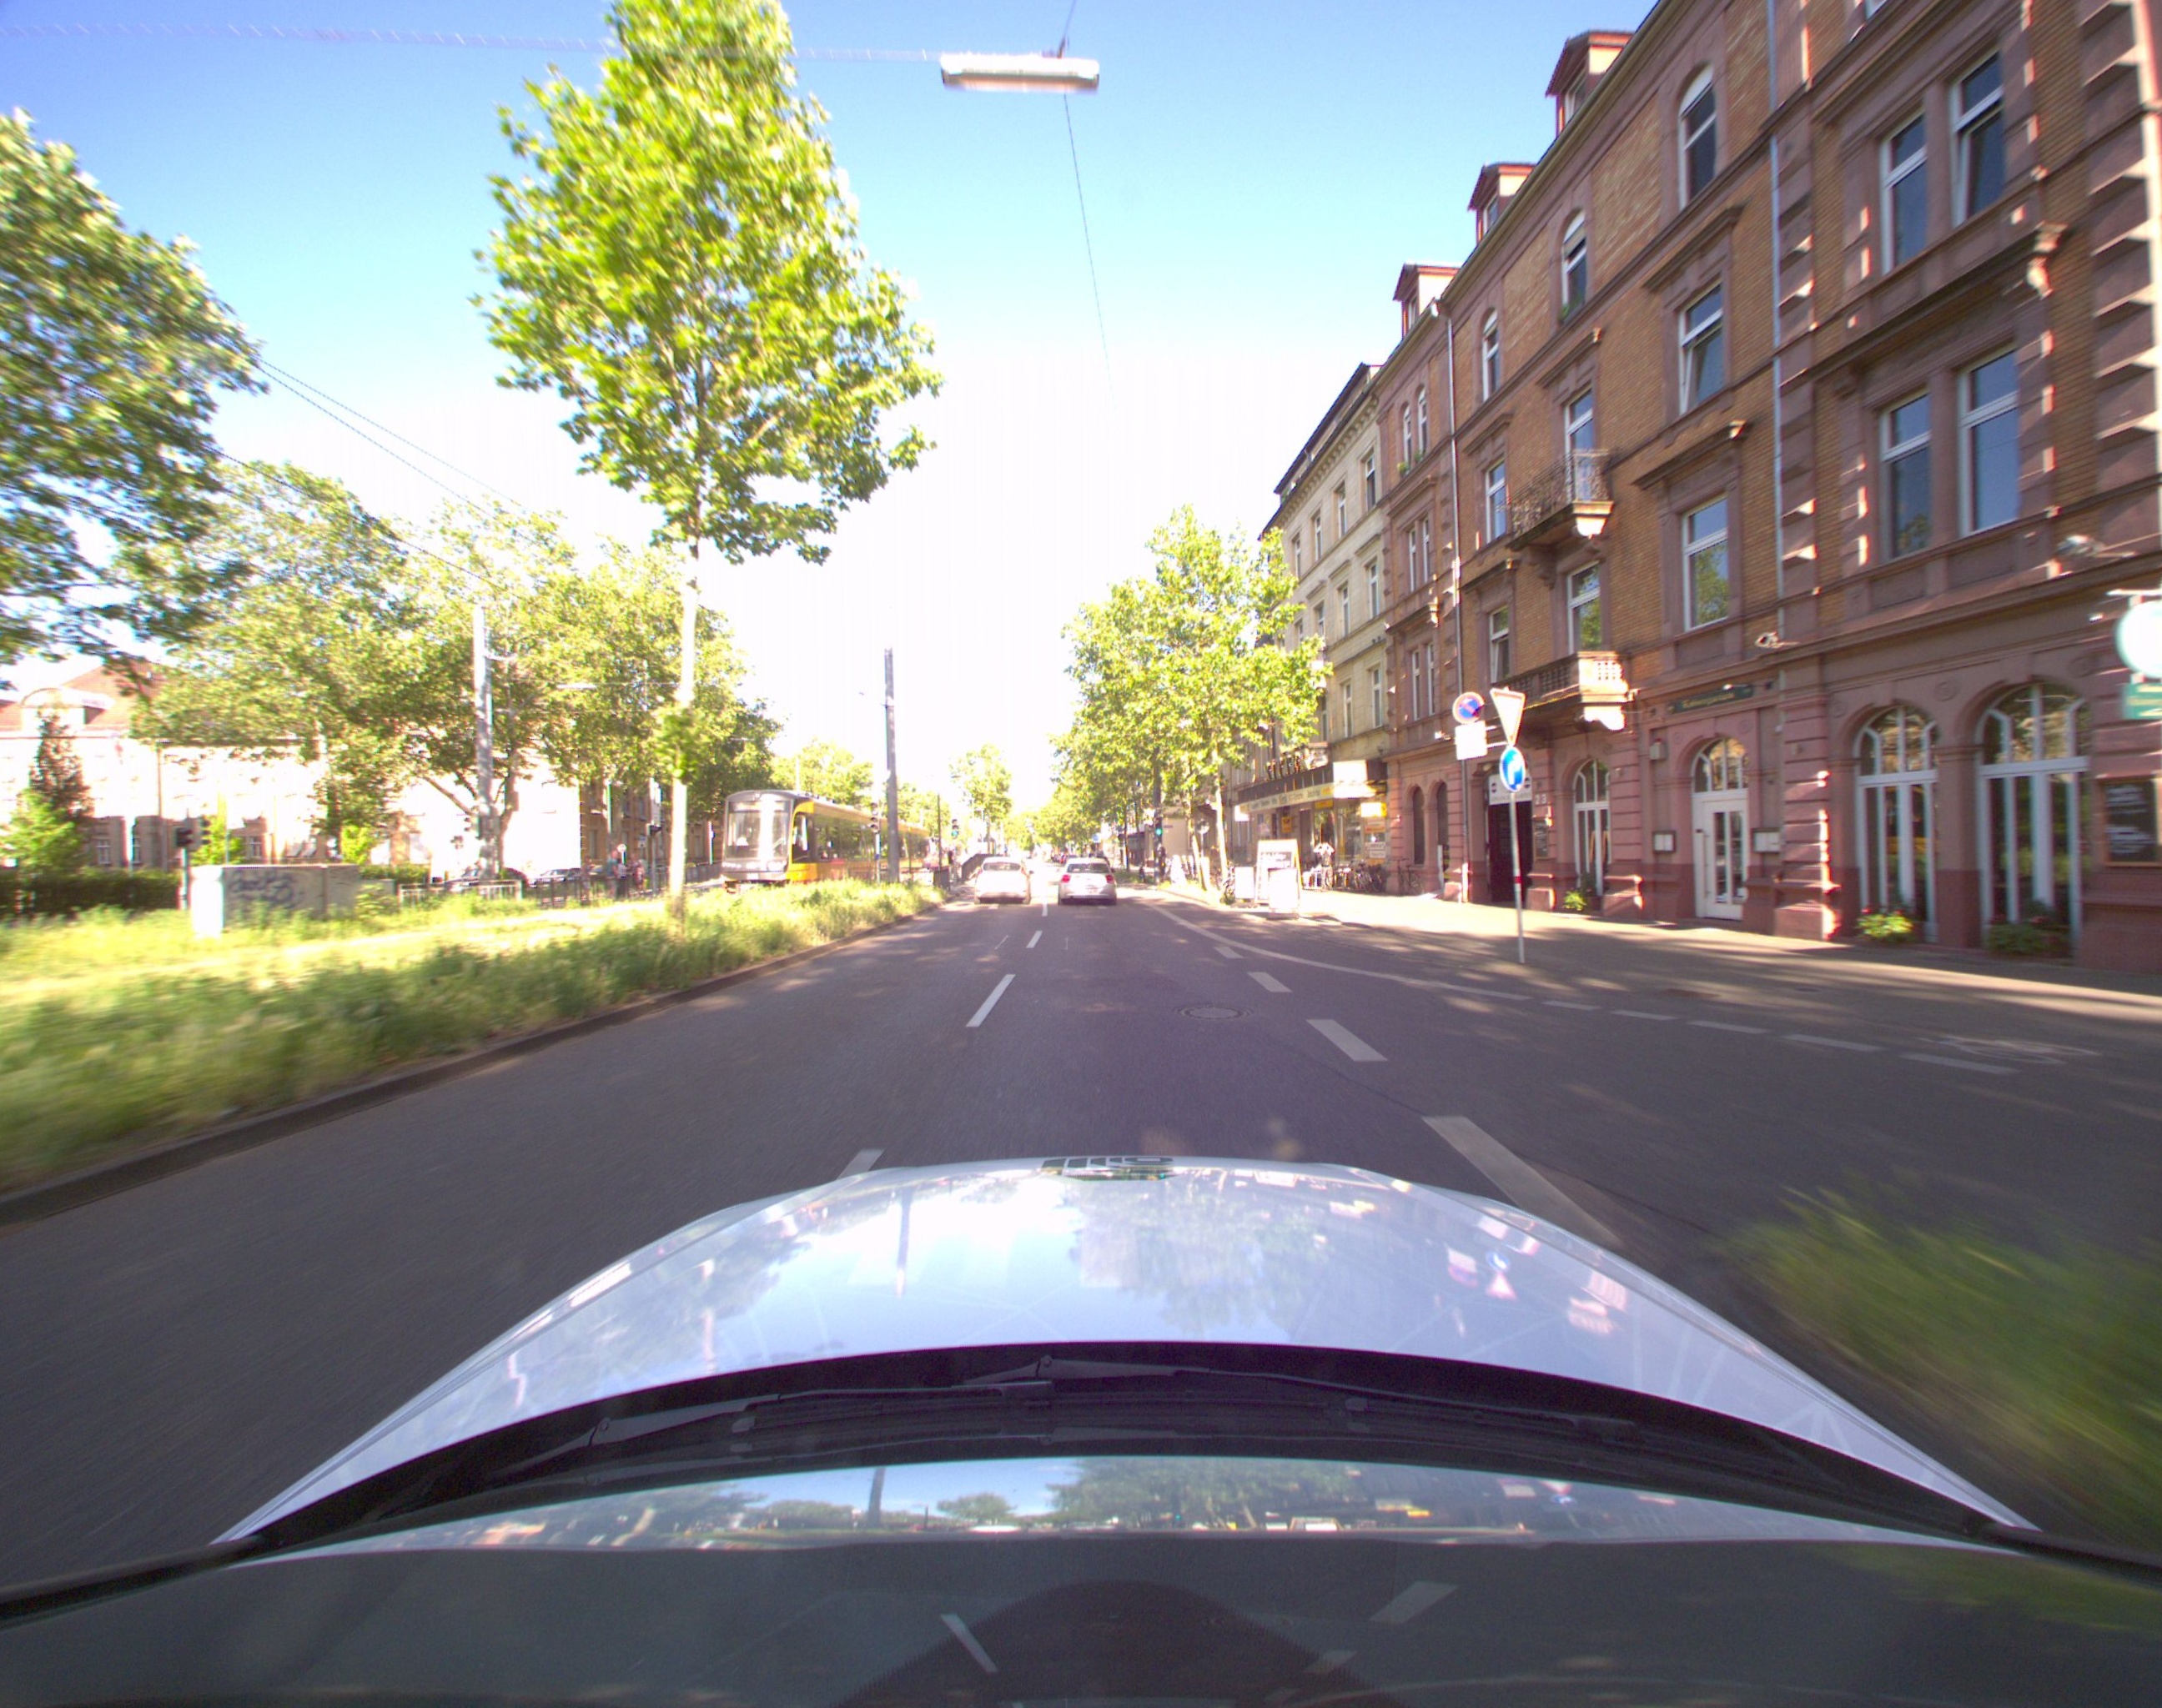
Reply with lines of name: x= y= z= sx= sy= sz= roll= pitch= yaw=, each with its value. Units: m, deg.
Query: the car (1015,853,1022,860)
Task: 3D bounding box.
car: x=-19.496 y=0.797 z=255.254 sx=1.989 sy=2.013 sz=3.995 roll=1 pitch=0 yaw=-4

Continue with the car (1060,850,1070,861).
car: x=-2.866 y=0.337 z=146.947 sx=1.721 sy=1.881 sz=3.994 roll=1 pitch=-1 yaw=-4

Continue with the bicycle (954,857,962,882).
bicycle: x=-6.205 y=0.768 z=41.147 sx=0.328 sy=1.214 sz=1.822 roll=-1 pitch=0 yaw=-10

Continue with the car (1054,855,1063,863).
car: x=-4.542 y=0.921 z=163.084 sx=1.697 sy=1.534 sz=3.711 roll=1 pitch=0 yaw=-4

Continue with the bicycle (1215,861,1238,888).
bicycle: x=5.557 y=0.782 z=31.203 sx=0.442 sy=0.993 sz=1.686 roll=1 pitch=0 yaw=-5

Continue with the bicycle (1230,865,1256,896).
bicycle: x=5.645 y=0.905 z=28.422 sx=0.442 sy=0.993 sz=1.686 roll=1 pitch=0 yaw=-5

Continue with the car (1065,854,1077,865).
car: x=-1.492 y=0.825 z=121.079 sx=1.666 sy=1.551 sz=3.995 roll=1 pitch=0 yaw=-4

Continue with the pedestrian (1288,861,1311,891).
pedestrian: x=8.615 y=0.863 z=32.081 sx=0.776 sy=1.161 sz=0.465 roll=1 pitch=0 yaw=-29

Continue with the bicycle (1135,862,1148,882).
bicycle: x=3.144 y=0.932 z=42.181 sx=0.427 sy=0.970 sz=1.748 roll=1 pitch=0 yaw=-4

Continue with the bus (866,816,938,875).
bus: x=-11.581 y=-0.484 z=53.885 sx=2.863 sy=3.444 sz=11.595 roll=-1 pitch=0 yaw=-4

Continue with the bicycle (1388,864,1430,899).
bicycle: x=9.733 y=0.798 z=24.226 sx=0.442 sy=0.993 sz=1.686 roll=1 pitch=0 yaw=-5

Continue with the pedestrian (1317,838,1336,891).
pedestrian: x=8.598 y=0.358 z=28.510 sx=0.463 sy=1.810 sz=0.779 roll=1 pitch=0 yaw=27

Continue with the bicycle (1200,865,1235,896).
bicycle: x=4.633 y=0.899 z=27.829 sx=0.444 sy=0.993 sz=1.678 roll=1 pitch=0 yaw=-18

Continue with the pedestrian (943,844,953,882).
pedestrian: x=-6.662 y=0.435 z=40.910 sx=0.451 sy=1.903 sz=0.582 roll=-1 pitch=0 yaw=-11

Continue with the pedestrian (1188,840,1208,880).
pedestrian: x=5.919 y=0.311 z=41.155 sx=0.879 sy=2.013 sz=0.856 roll=1 pitch=0 yaw=-1

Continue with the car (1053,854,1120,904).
car: x=0.085 y=0.728 z=25.604 sx=1.759 sy=1.432 sz=3.993 roll=1 pitch=0 yaw=-5

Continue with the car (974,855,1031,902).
car: x=-2.432 y=0.734 z=25.915 sx=1.643 sy=1.363 sz=3.755 roll=1 pitch=0 yaw=-4

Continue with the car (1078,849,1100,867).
car: x=0.774 y=0.356 z=80.426 sx=1.795 sy=1.700 sz=4.730 roll=-2 pitch=0 yaw=-4

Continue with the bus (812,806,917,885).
bus: x=-10.760 y=-0.386 z=41.989 sx=2.863 sy=3.444 sz=12.198 roll=-1 pitch=0 yaw=-4

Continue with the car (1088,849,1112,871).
car: x=1.670 y=0.530 z=74.421 sx=1.751 sy=1.965 sz=4.730 roll=-1 pitch=0 yaw=-4

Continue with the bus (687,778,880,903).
bus: x=-9.943 y=-0.377 z=29.407 sx=2.863 sy=3.444 sz=13.198 roll=-1 pitch=0 yaw=-4

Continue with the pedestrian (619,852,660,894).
pedestrian: x=-17.562 y=0.755 z=32.413 sx=1.177 sy=1.643 sz=0.889 roll=-1 pitch=-1 yaw=-12

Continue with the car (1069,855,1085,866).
car: x=-0.637 y=0.886 z=115.807 sx=1.989 sy=1.509 sz=4.591 roll=1 pitch=-1 yaw=-4

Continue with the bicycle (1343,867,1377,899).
bicycle: x=9.257 y=0.940 z=27.082 sx=0.442 sy=0.993 sz=1.686 roll=1 pitch=0 yaw=-5

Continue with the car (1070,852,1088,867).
car: x=-0.203 y=0.583 z=89.805 sx=1.689 sy=1.658 sz=4.033 roll=-1 pitch=1 yaw=-4

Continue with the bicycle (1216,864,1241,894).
bicycle: x=5.128 y=0.864 z=28.346 sx=0.442 sy=0.993 sz=1.686 roll=1 pitch=0 yaw=-5

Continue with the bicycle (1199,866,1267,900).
bicycle: x=4.624 y=0.883 z=24.780 sx=2.011 sy=0.993 sz=0.443 roll=1 pitch=0 yaw=-7

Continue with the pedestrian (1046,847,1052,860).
pedestrian: x=-4.788 y=-0.058 z=122.878 sx=0.835 sy=2.013 sz=0.649 roll=1 pitch=0 yaw=3

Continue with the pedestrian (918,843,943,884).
pedestrian: x=-7.269 y=0.451 z=39.403 sx=1.071 sy=1.916 sz=1.124 roll=-1 pitch=0 yaw=-6

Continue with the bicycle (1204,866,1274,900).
bicycle: x=4.709 y=0.856 z=24.284 sx=2.001 sy=0.993 sz=0.443 roll=1 pitch=0 yaw=-7

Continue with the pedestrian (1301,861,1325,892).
pedestrian: x=8.976 y=0.869 z=31.500 sx=0.647 sy=1.161 sz=0.607 roll=1 pitch=0 yaw=-15

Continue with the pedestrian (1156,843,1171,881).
pedestrian: x=3.904 y=0.355 z=38.492 sx=0.639 sy=1.771 sz=0.869 roll=1 pitch=0 yaw=2
